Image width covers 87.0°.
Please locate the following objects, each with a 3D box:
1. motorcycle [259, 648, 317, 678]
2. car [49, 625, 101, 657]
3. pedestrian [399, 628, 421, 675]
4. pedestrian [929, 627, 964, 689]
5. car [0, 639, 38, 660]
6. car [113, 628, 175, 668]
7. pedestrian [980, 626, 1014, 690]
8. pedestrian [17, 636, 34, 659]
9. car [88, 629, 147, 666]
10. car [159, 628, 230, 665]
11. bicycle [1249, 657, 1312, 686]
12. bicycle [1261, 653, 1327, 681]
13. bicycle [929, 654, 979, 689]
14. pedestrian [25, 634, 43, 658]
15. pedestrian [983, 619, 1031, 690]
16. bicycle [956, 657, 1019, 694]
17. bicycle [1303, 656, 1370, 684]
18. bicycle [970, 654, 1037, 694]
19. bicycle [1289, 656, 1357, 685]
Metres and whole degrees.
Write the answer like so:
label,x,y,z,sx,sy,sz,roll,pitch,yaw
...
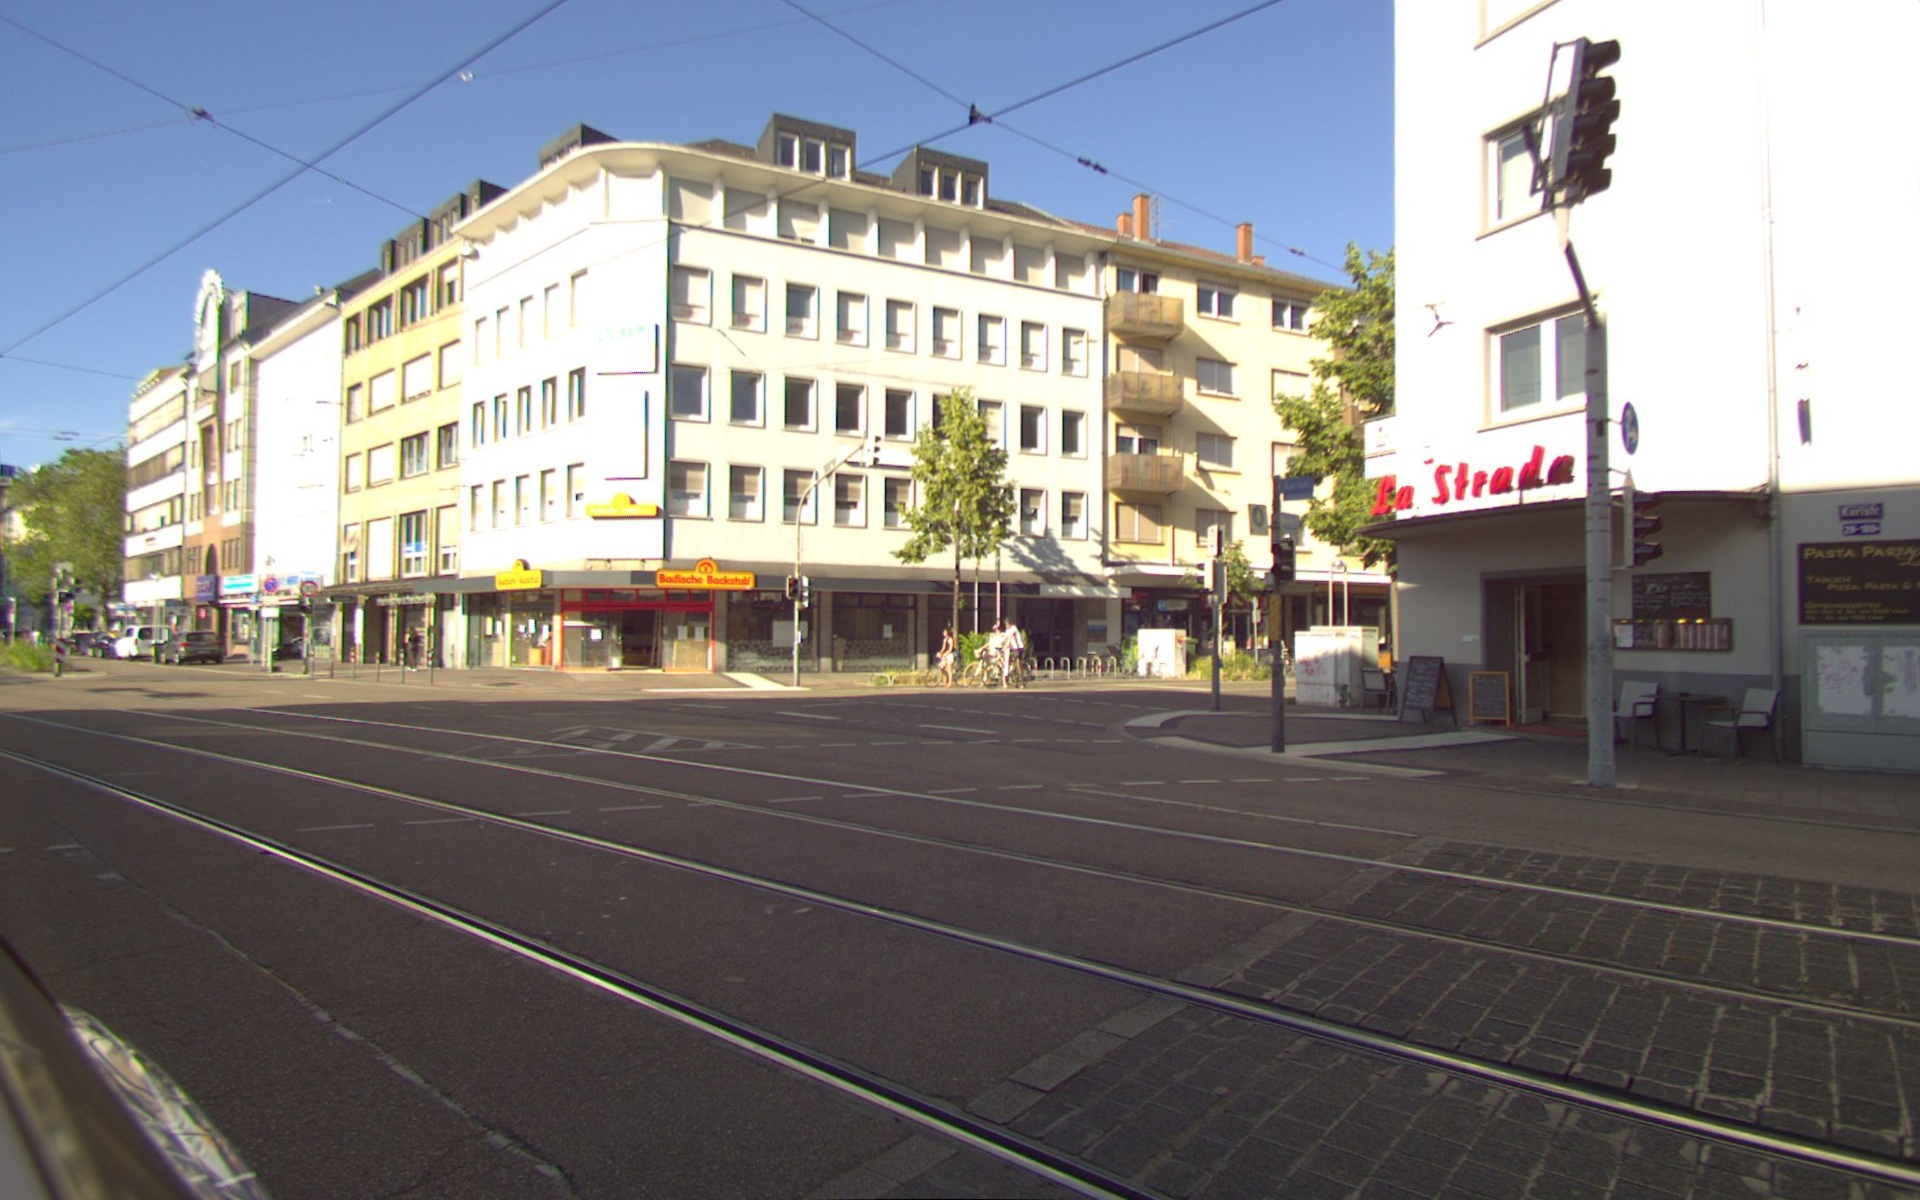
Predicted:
label,x,y,z,sx,sy,sz,roll,pitch,yaw
motorcycle,-34.387,3.203,51.820,0.999,1.517,2.226,-2,-3,38
car,-56.842,2.628,64.980,3.998,2.029,1.973,-2,-3,41
pedestrian,-20.560,1.922,37.847,0.700,1.722,0.562,2,-3,-28
pedestrian,-0.386,1.626,28.539,0.644,1.725,0.794,2,-2,-40
car,-85.340,4.435,90.589,1.999,1.811,3.945,-3,-4,41
car,-43.828,2.571,54.324,4.843,2.029,1.971,-2,-3,44
pedestrian,1.022,1.593,28.124,0.550,1.741,0.782,2,-2,-39
pedestrian,-67.966,3.453,73.594,0.571,1.637,0.707,0,-2,-6
car,-48.130,2.701,57.807,3.998,2.029,1.973,-2,-3,41
car,-37.196,2.258,49.159,3.998,1.719,1.973,-2,-3,41
bicycle,11.586,2.573,36.671,0.645,0.966,2.232,2,-3,-37
bicycle,12.203,2.453,37.037,0.536,0.966,2.409,2,-3,-37
bicycle,-0.171,2.030,28.758,1.432,0.963,0.482,2,-4,-39
pedestrian,-67.366,3.322,73.634,0.571,1.728,0.707,0,-2,-6
pedestrian,1.279,1.478,27.430,0.986,1.881,0.782,2,-5,-40
bicycle,0.774,2.089,28.072,1.765,0.976,0.555,2,-4,-37
bicycle,14.108,2.609,37.971,0.645,1.013,2.410,2,-3,-35
bicycle,1.186,1.993,27.351,1.697,1.015,0.762,2,-6,-37
bicycle,13.425,2.590,37.496,0.645,0.985,2.403,2,-3,-35
